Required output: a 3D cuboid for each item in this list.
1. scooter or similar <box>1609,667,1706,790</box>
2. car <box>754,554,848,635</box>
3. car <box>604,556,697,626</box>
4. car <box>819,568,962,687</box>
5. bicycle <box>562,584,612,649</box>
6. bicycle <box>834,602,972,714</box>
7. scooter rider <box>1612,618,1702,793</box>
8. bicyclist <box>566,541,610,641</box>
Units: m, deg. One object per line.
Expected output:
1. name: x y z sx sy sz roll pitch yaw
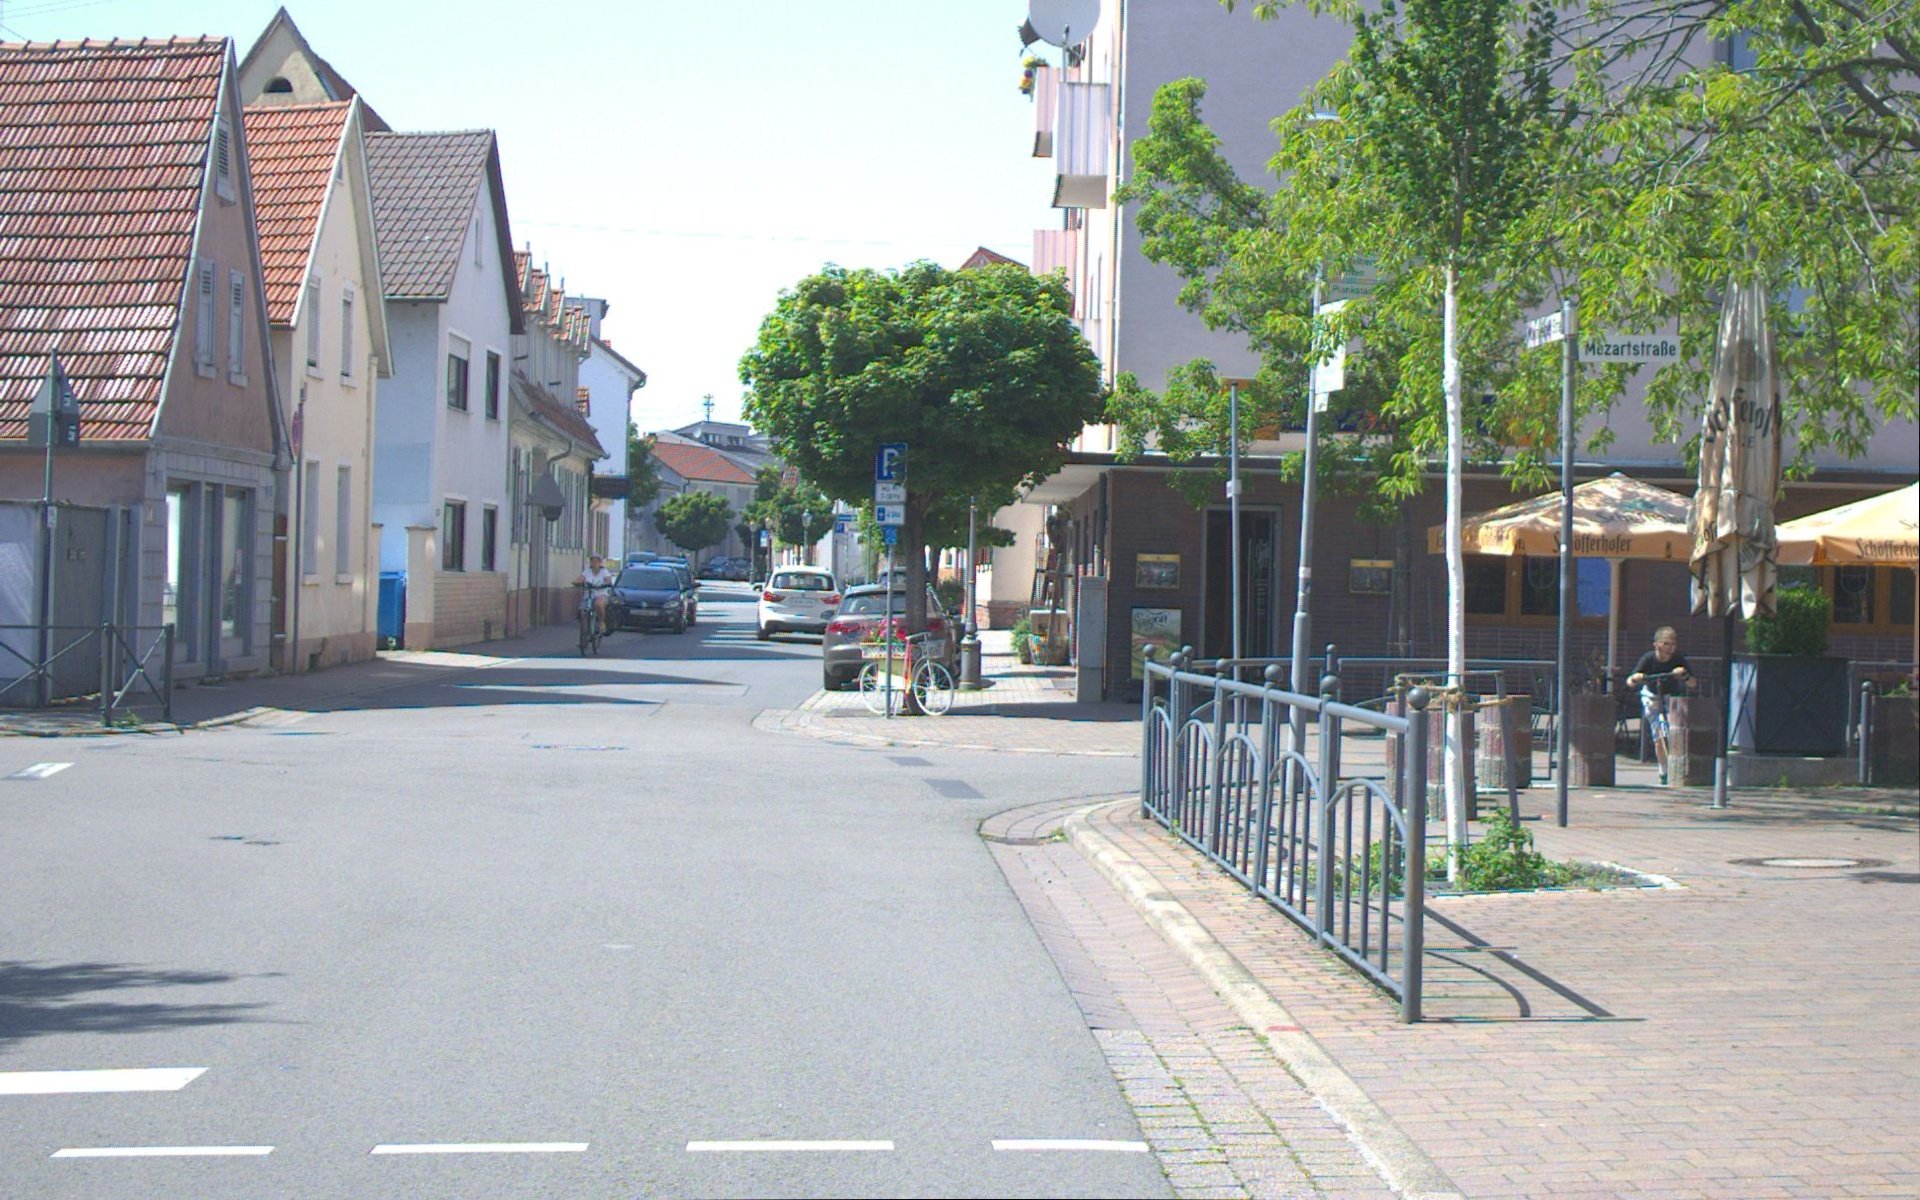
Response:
1. scooter or similar: 5.209 0.951 25.706 0.378 0.870 0.890 1 0 -11
2. car: -3.368 -0.132 73.566 1.834 1.646 4.000 1 0 -1
3. car: -7.022 -0.222 78.210 1.714 1.512 3.786 1 0 0
4. car: -0.920 0.349 47.404 1.805 1.496 4.000 1 1 1
5. bicycle: -6.352 0.269 58.605 0.674 1.090 1.896 0 0 -1
6. bicycle: -0.649 0.641 38.633 0.525 1.189 1.674 1 0 -44
7. scooter rider: 5.215 0.784 25.736 0.516 1.281 0.418 1 0 -11
8. bicyclist: -6.340 -0.151 58.566 0.669 1.685 0.761 0 0 -1
